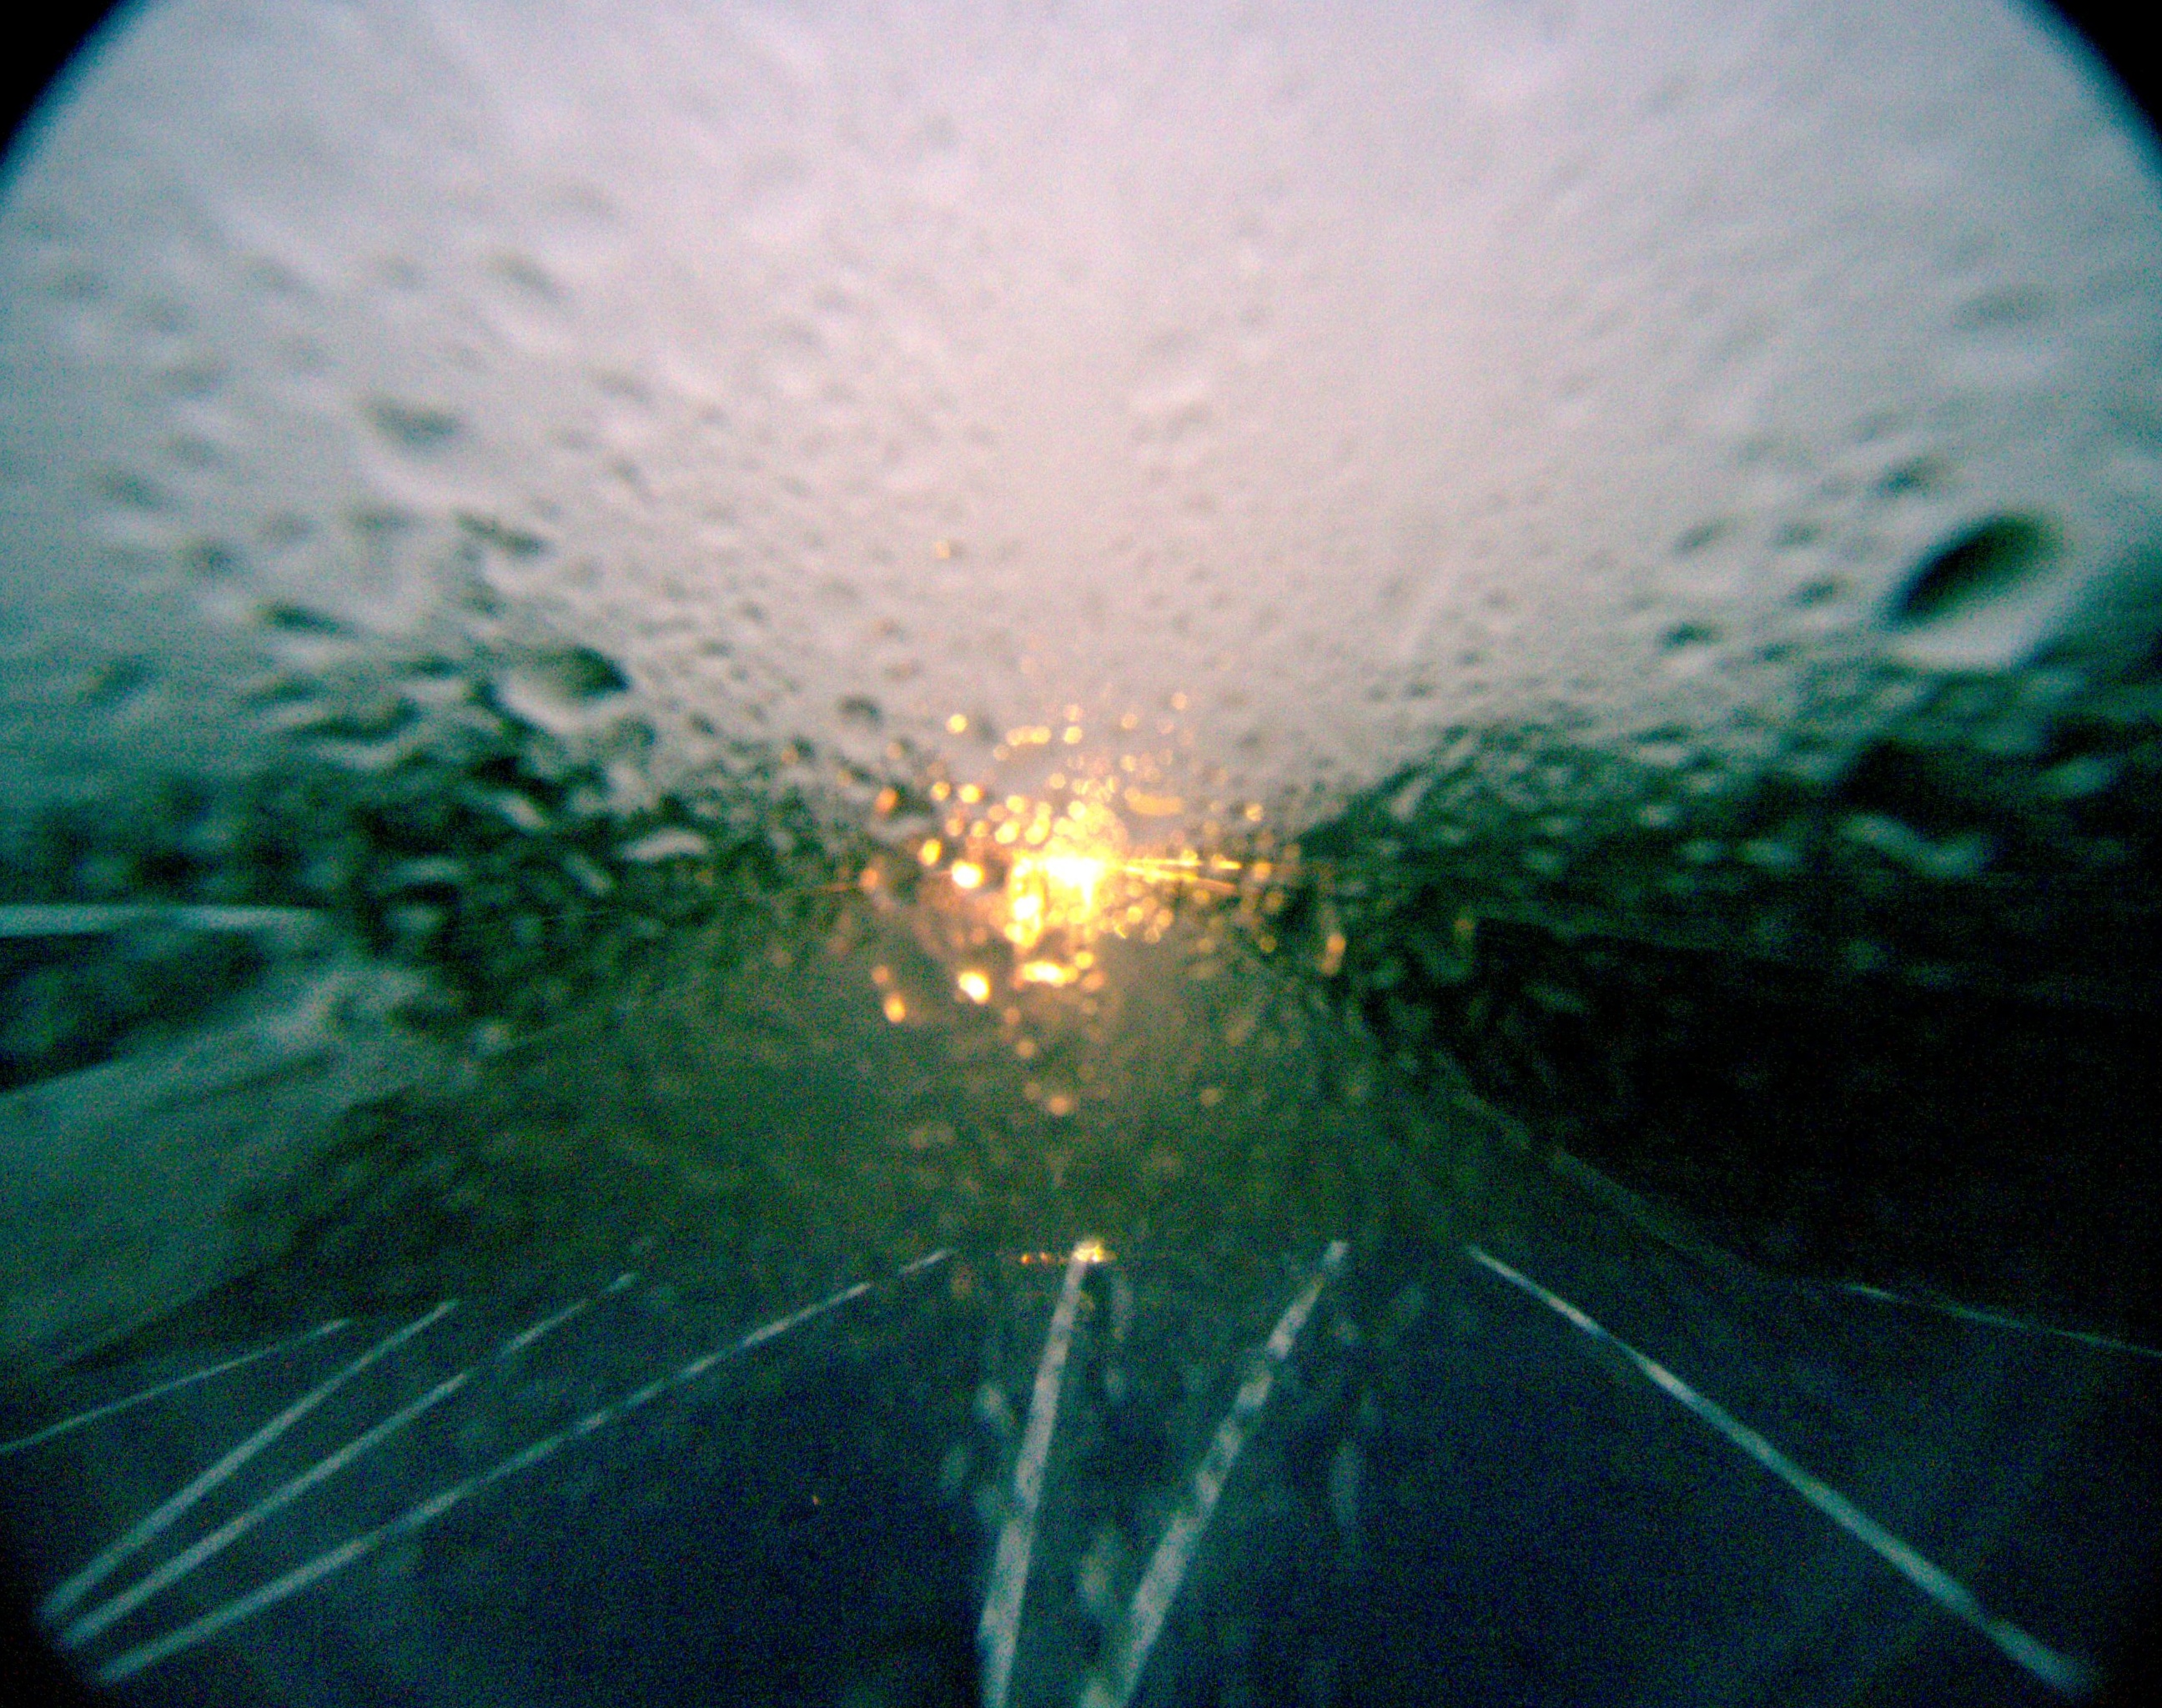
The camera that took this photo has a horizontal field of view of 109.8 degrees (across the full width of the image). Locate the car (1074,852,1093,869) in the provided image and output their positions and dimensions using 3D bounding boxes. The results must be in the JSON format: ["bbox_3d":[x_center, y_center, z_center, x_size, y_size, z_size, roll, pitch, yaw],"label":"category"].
[{"bbox_3d":[0.232,0.564,67.719,1.632,1.465,4.000,-1,0,-1],"label":"car"}]

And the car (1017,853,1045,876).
[{"bbox_3d":[-3.334,0.711,51.174,1.632,1.465,4.000,-1,0,-1],"label":"car"}]

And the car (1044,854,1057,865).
[{"bbox_3d":[-4.138,0.791,103.617,1.632,1.465,4.000,-1,0,-1],"label":"car"}]

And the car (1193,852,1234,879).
[{"bbox_3d":[7.599,0.642,43.902,1.612,1.465,4.176,-1,0,0],"label":"car"}]

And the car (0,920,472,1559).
[{"bbox_3d":[-3.639,1.041,1.395,1.802,1.494,4.000,-1,0,0],"label":"car"}]
